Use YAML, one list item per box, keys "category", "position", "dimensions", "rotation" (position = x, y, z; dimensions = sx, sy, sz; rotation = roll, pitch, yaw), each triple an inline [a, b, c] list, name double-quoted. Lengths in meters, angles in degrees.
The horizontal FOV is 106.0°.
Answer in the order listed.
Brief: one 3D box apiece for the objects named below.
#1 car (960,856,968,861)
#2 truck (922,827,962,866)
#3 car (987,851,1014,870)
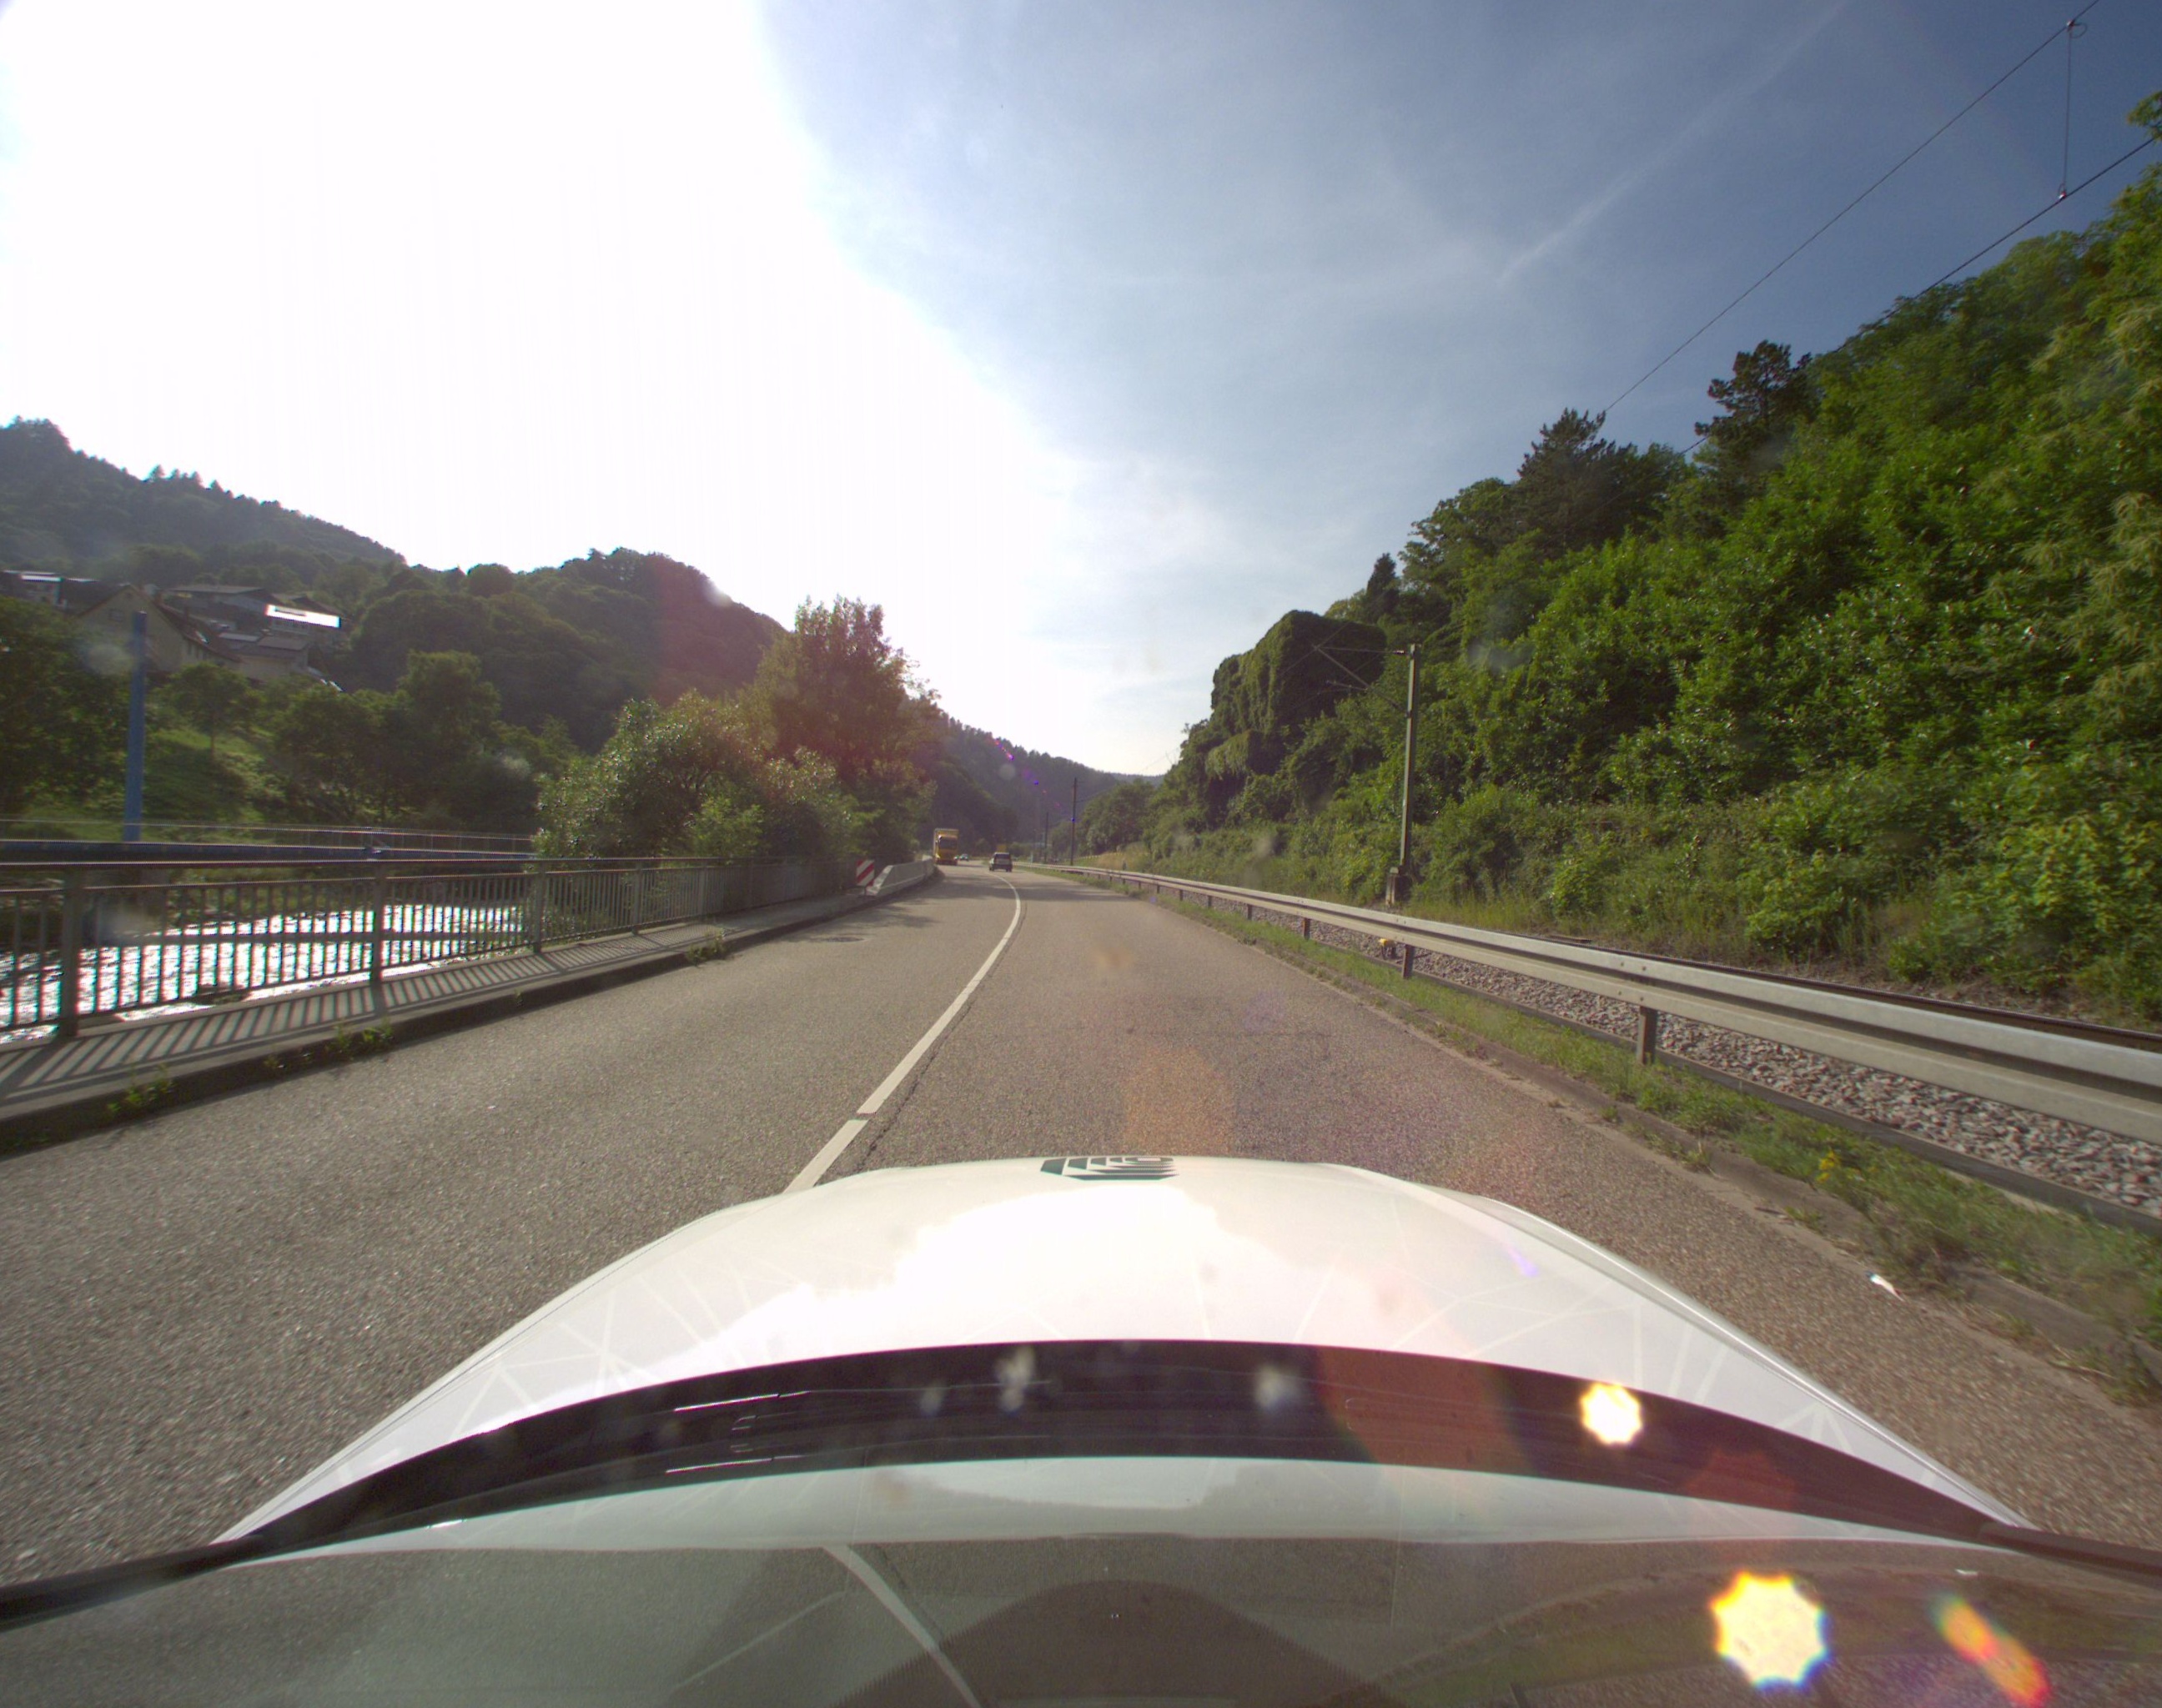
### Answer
- category: "car"
  position: [-27.653, 0.974, 192.673]
  dimensions: [1.469, 1.084, 3.270]
  rotation: [4, 0, -3]
- category: "truck"
  position: [-16.631, -0.802, 96.709]
  dimensions: [3.376, 4.383, 12.640]
  rotation: [-1, 0, -16]
- category: "car"
  position: [-7.133, 0.563, 71.955]
  dimensions: [1.875, 1.656, 3.981]
  rotation: [0, -1, -14]
